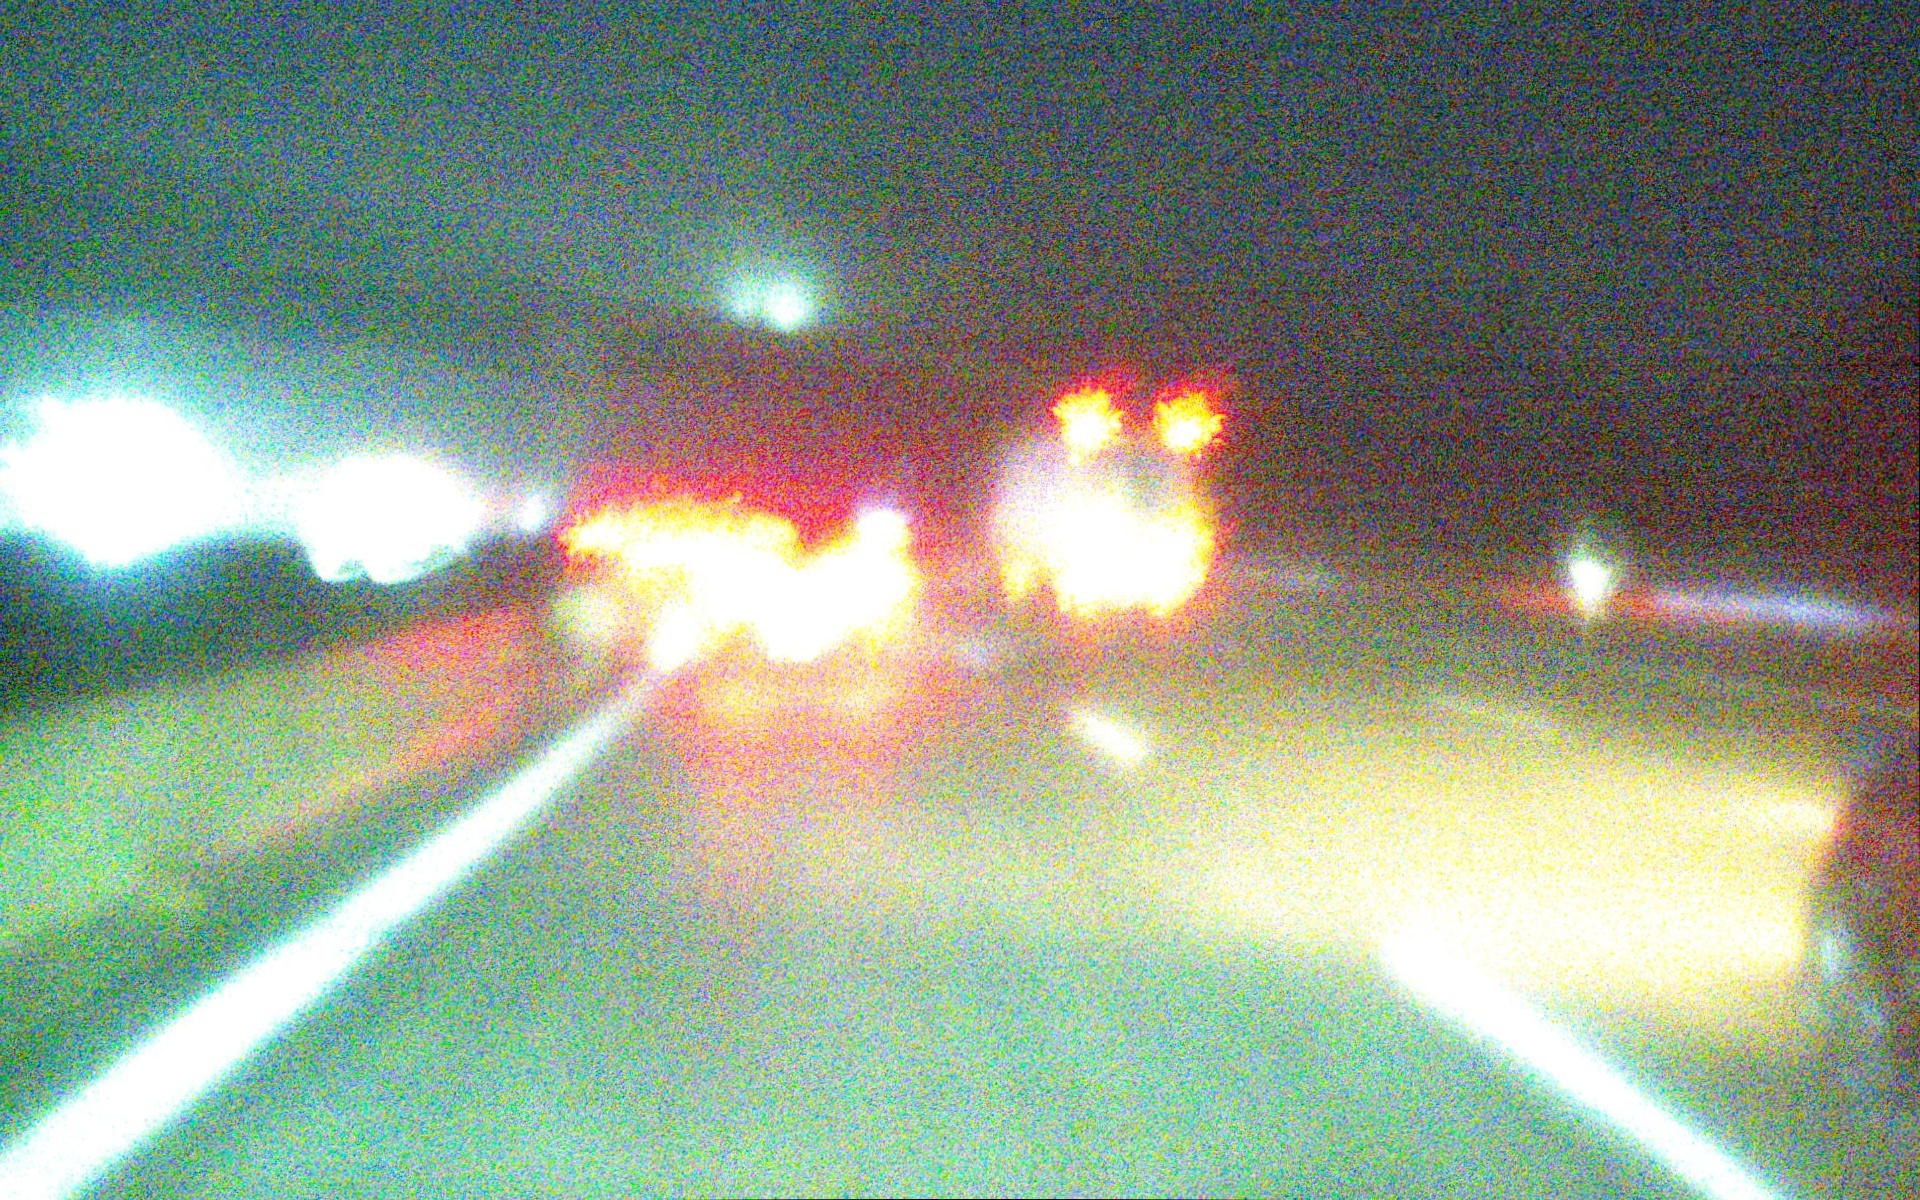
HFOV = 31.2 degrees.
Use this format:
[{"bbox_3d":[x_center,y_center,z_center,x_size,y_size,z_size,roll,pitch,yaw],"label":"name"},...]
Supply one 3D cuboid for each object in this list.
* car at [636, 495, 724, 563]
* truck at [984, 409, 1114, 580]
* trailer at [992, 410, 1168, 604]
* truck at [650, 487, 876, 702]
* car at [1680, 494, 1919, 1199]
[{"bbox_3d":[-8.512,-2.125,104.243,1.993,2.007,4.001,0,0,-14],"label":"car"},{"bbox_3d":[2.263,-2.741,89.056,2.710,4.226,5.294,1,2,-5],"label":"truck"},{"bbox_3d":[2.722,-2.346,82.564,2.739,4.233,13.375,-1,3,-4],"label":"trailer"},{"bbox_3d":[-2.190,-0.165,40.127,2.145,2.070,6.604,5,2,-1],"label":"truck"},{"bbox_3d":[3.117,0.587,7.707,1.800,1.612,4.257,1,1,-4],"label":"car"}]
